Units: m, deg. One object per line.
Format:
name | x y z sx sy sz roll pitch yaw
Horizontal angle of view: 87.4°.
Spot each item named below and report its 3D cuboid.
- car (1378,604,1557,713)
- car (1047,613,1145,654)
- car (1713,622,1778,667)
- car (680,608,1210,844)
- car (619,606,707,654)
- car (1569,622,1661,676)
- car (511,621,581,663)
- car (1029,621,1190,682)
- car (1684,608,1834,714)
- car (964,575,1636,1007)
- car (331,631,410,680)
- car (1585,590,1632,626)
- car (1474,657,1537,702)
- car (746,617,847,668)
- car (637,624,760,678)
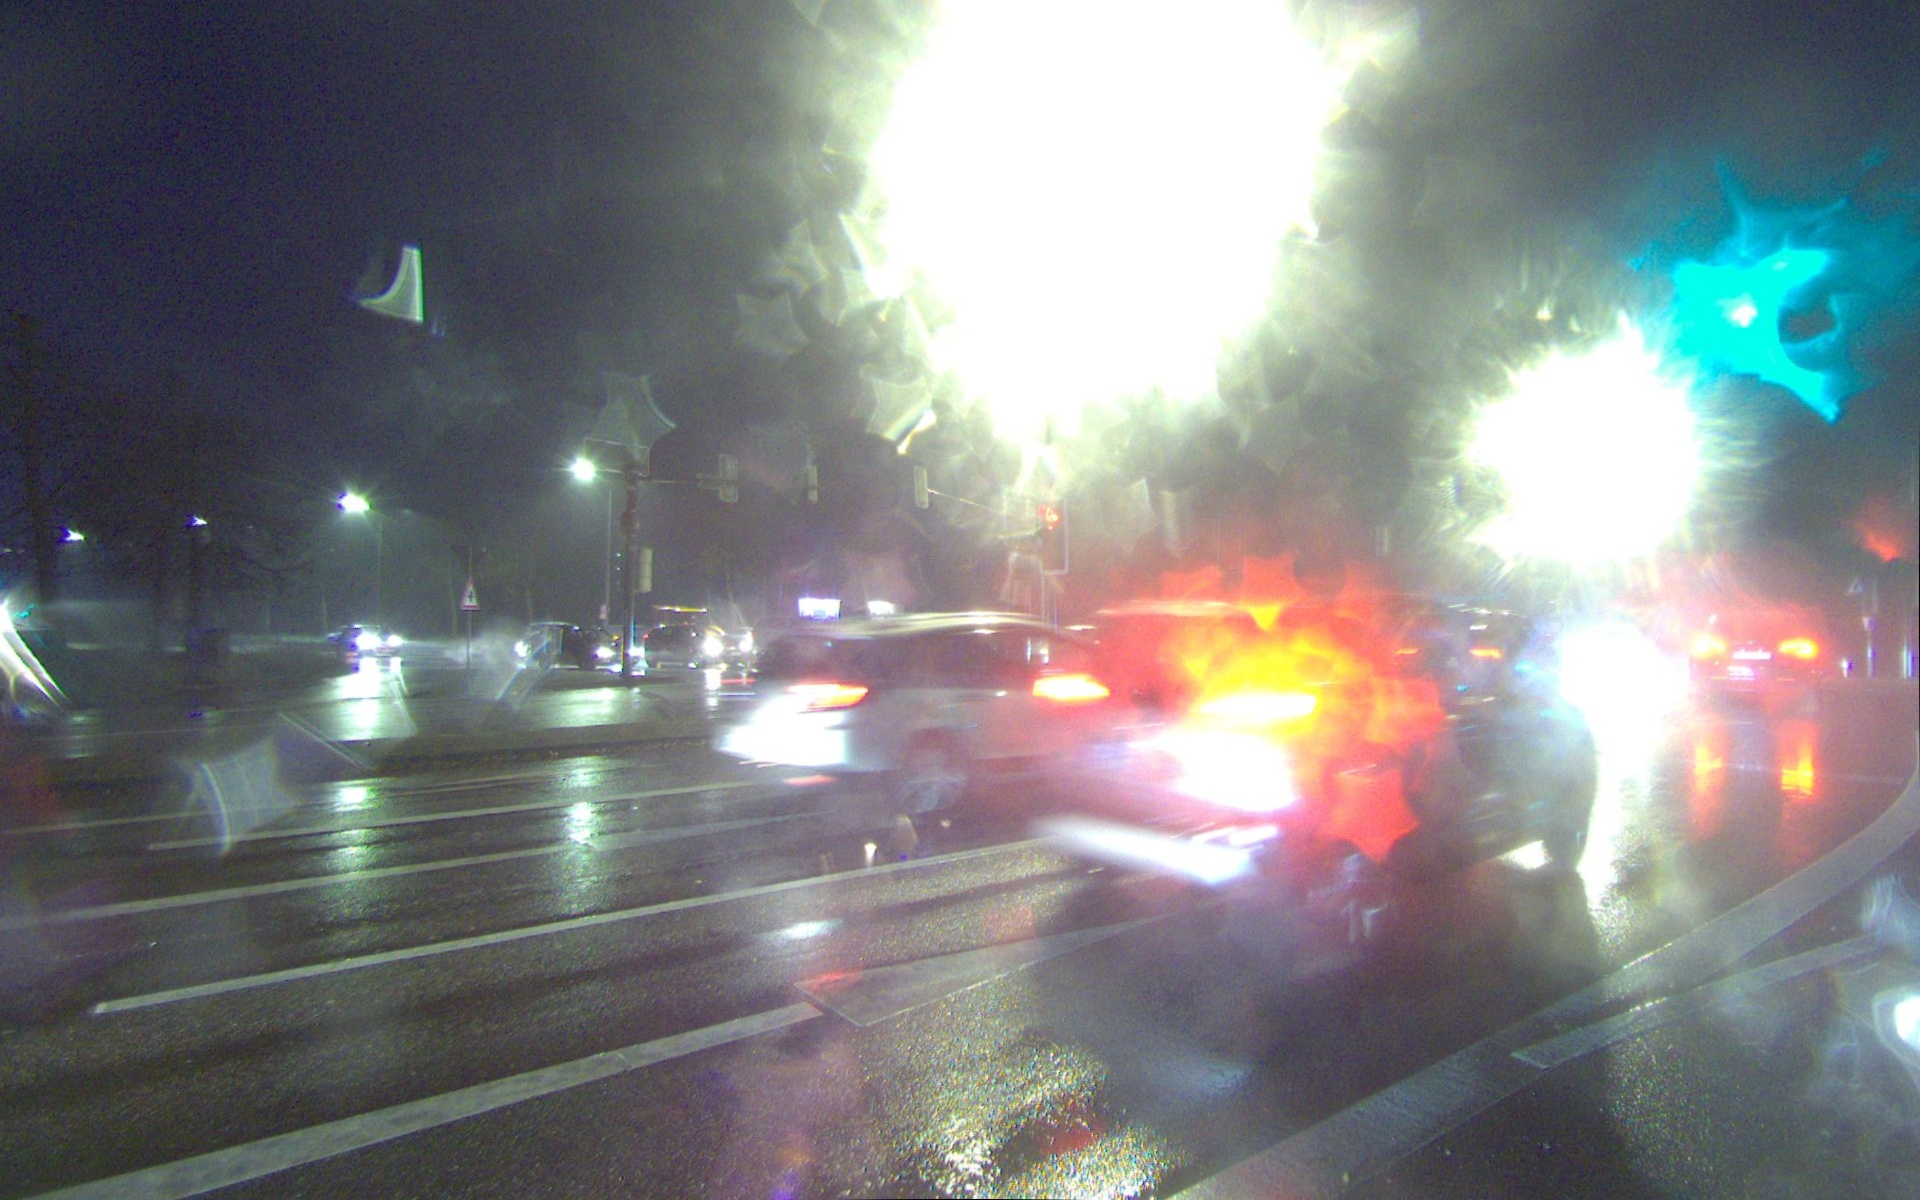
car | 8.943 0.969 17.553 1.888 1.680 3.966 0 -2 41
car | 6.199 1.518 45.990 4.210 1.740 1.933 1 0 0
car | 27.932 1.566 35.680 1.679 1.482 4.294 0 -2 40
car | 0.061 0.828 8.282 4.255 1.455 1.722 1 -1 -40
car | -13.688 1.339 46.256 4.080 2.051 1.787 1 0 37
car | 19.113 1.399 29.238 1.637 1.464 3.771 0 -2 43
car | -21.287 2.135 51.625 3.551 1.964 1.707 1 -1 36
car | 4.185 1.349 27.563 4.757 1.482 1.907 2 0 -45
car | 14.707 1.011 18.719 1.803 1.675 4.466 2 1 34
car | 2.141 0.768 5.751 3.990 1.613 1.835 2 -1 -40
car | -28.272 2.637 48.163 3.931 2.107 1.659 1 0 33
car | 39.806 0.504 61.610 1.756 2.106 3.978 2 0 42
car | 27.338 3.943 50.304 1.794 2.040 3.977 1 -1 43
car | -6.675 1.670 40.845 4.080 1.878 1.661 1 0 37
car | -9.144 1.718 35.048 4.191 1.654 1.951 1 0 37
